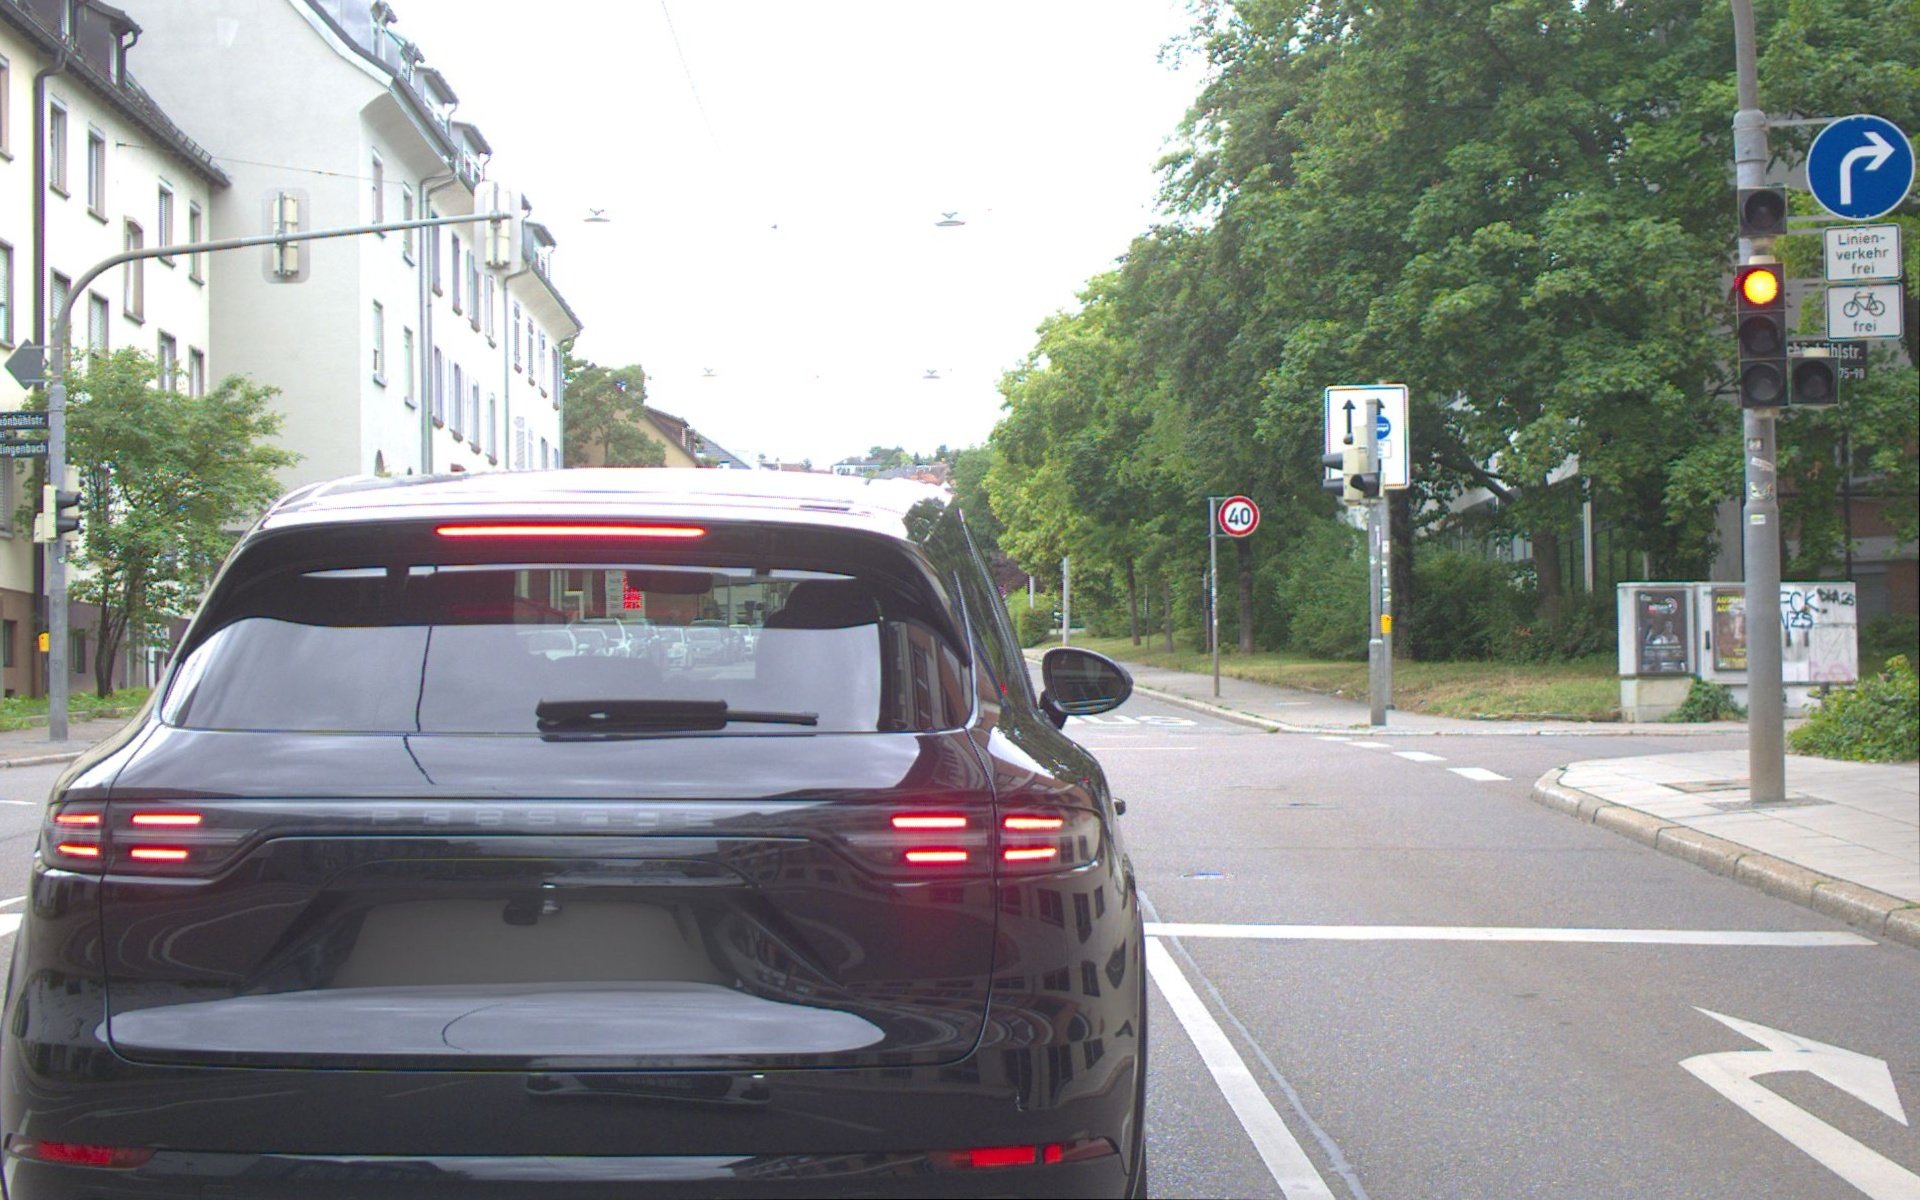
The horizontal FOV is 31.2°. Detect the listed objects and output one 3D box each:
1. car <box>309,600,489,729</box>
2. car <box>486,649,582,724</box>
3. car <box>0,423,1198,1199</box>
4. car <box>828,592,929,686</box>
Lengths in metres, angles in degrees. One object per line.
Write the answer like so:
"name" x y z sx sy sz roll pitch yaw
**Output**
"car" -7.400 0.821 45.648 1.664 1.514 3.740 -4 1 0
"car" -8.579 1.719 69.412 1.669 1.357 4.001 0 1 -3
"car" -0.674 0.570 7.143 1.993 1.691 4.000 1 1 -1
"car" -1.446 0.659 60.138 1.688 1.547 3.889 1 1 -2
